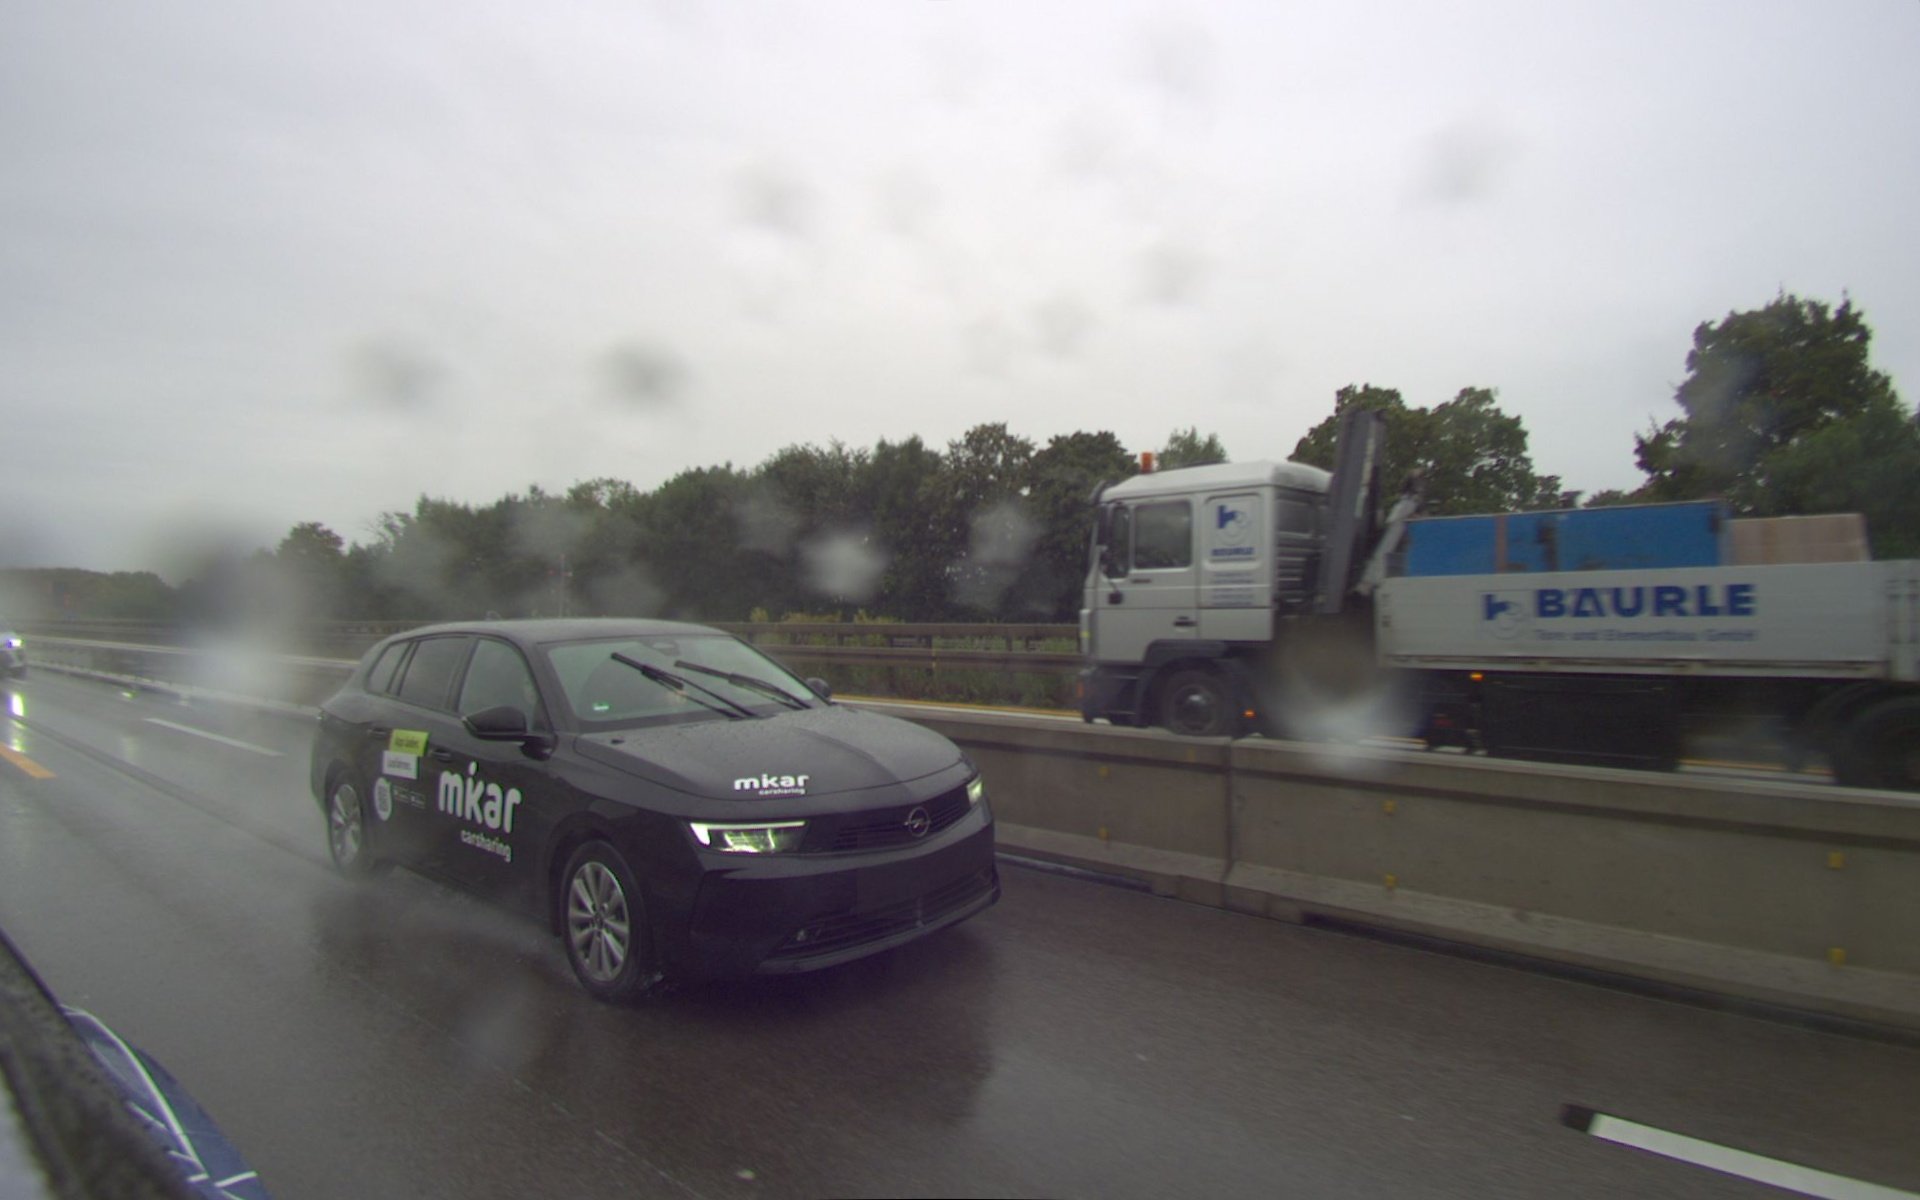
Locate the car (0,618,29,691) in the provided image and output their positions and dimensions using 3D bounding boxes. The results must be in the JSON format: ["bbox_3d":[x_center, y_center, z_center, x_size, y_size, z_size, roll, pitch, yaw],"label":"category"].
[{"bbox_3d":[-24.920,1.330,25.186,3.994,1.693,1.948,1,1,38],"label":"car"}]

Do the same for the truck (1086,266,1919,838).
[{"bbox_3d":[5.684,-0.271,7.706,9.548,3.373,2.612,-1,-1,41],"label":"truck"}]

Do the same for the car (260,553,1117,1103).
[{"bbox_3d":[-1.761,0.672,5.165,4.794,1.539,1.918,-1,-1,42],"label":"car"}]
